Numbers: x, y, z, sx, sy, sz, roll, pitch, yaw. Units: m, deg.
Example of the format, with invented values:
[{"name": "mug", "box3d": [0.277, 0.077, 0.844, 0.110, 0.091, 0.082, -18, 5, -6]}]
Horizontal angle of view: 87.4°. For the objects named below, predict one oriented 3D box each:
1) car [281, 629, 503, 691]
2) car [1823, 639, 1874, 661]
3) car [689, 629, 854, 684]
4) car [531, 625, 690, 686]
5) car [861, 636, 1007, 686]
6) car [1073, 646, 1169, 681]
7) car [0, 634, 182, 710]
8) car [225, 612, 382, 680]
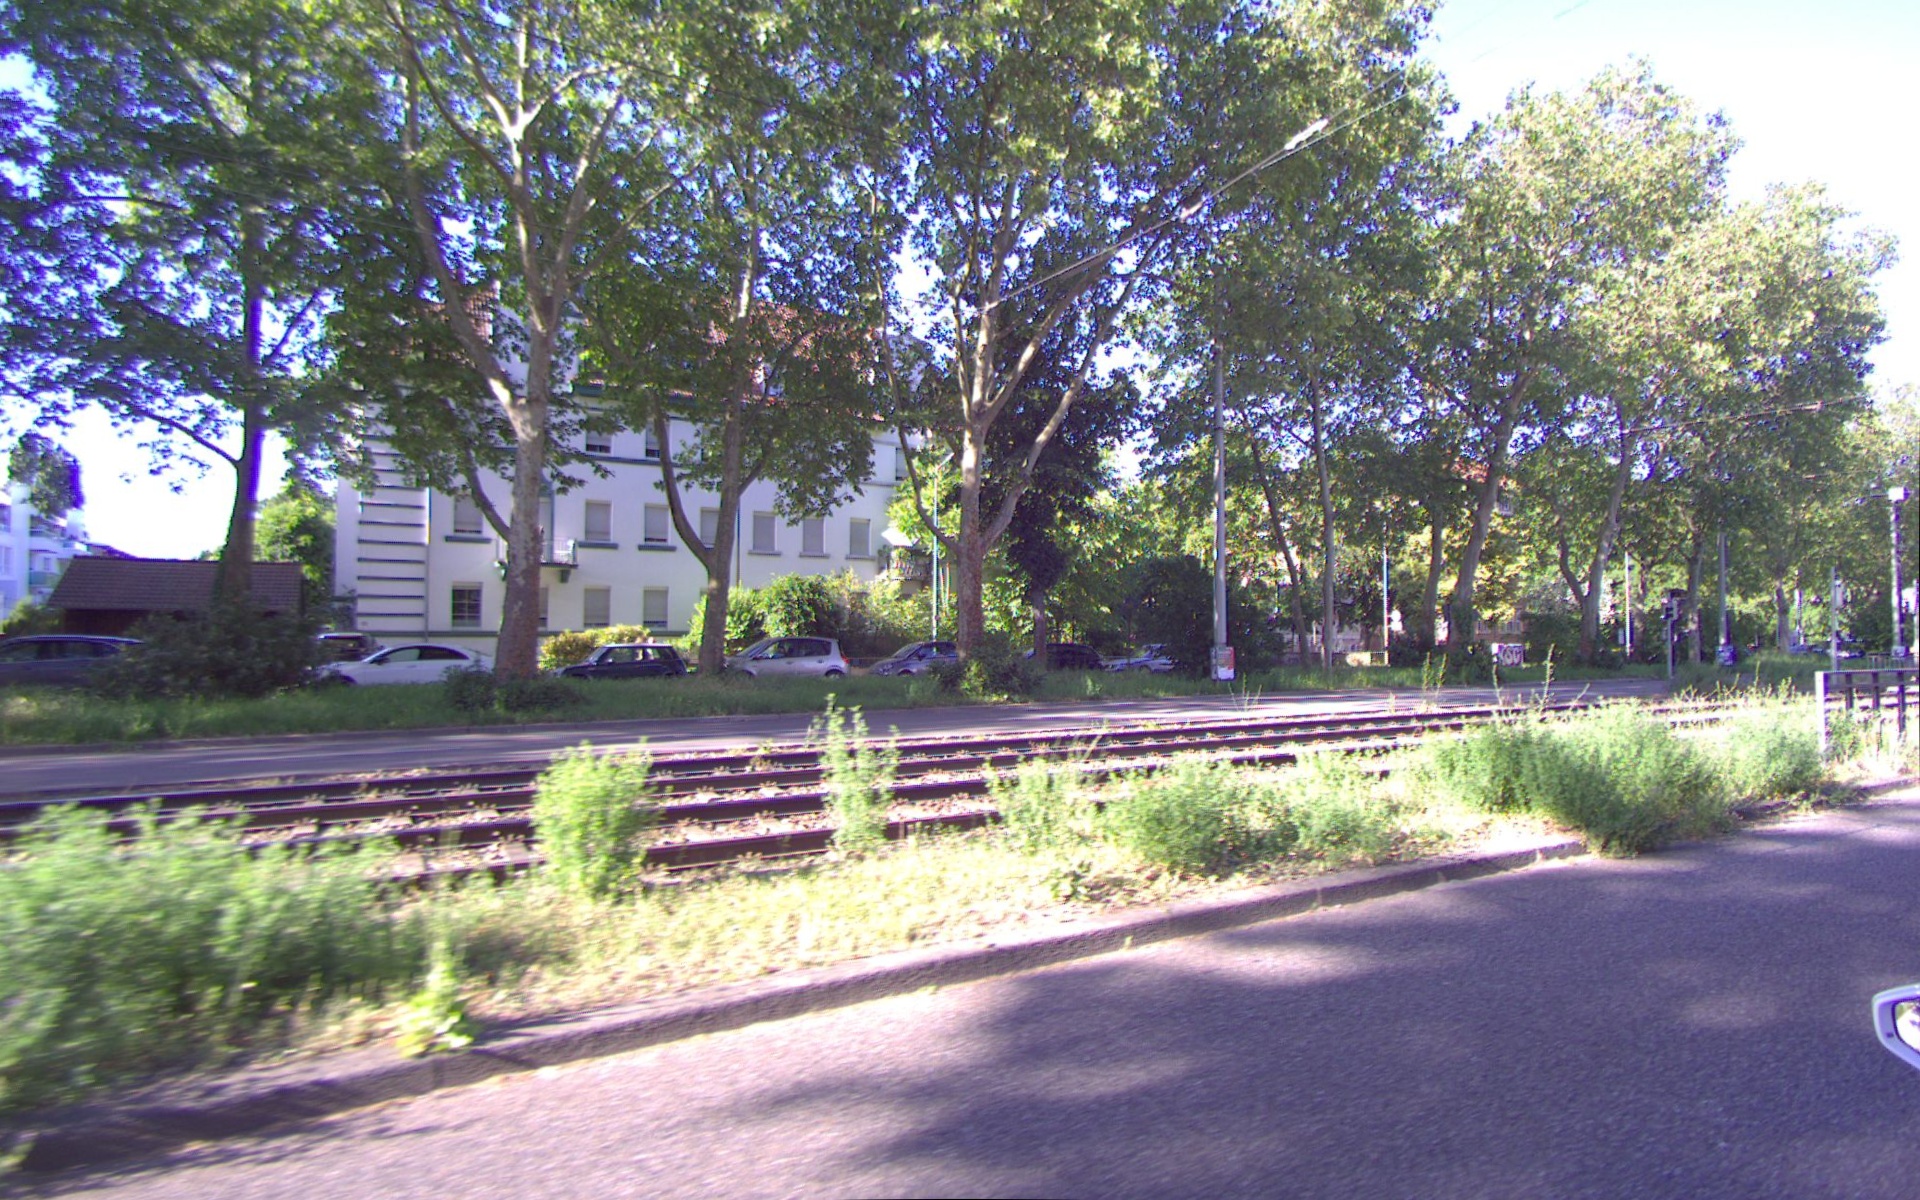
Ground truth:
[{"name": "car", "box3d": [-13.267, 1.417, 23.682, 4.409, 1.341, 1.633, 2, -4, -31]}, {"name": "car", "box3d": [63.500, 3.536, 71.775, 4.099, 1.529, 1.660, 2, -2, -32]}, {"name": "car", "box3d": [-5.318, 1.569, 28.468, 4.268, 1.459, 1.727, 2, -2, -30]}, {"name": "car", "box3d": [-9.072, 1.428, 26.122, 3.654, 1.484, 1.767, 2, -2, -30]}, {"name": "car", "box3d": [-0.791, 1.858, 31.438, 4.268, 1.460, 1.776, 1, -2, -30]}, {"name": "car", "box3d": [5.653, 2.187, 35.155, 3.184, 1.131, 1.463, 2, -2, -34]}, {"name": "car", "box3d": [-18.793, 1.436, 20.539, 4.268, 1.472, 1.984, 2, -2, -30]}, {"name": "car", "box3d": [-19.465, 1.356, 29.975, 3.779, 1.884, 1.839, 1, -2, -32]}]
